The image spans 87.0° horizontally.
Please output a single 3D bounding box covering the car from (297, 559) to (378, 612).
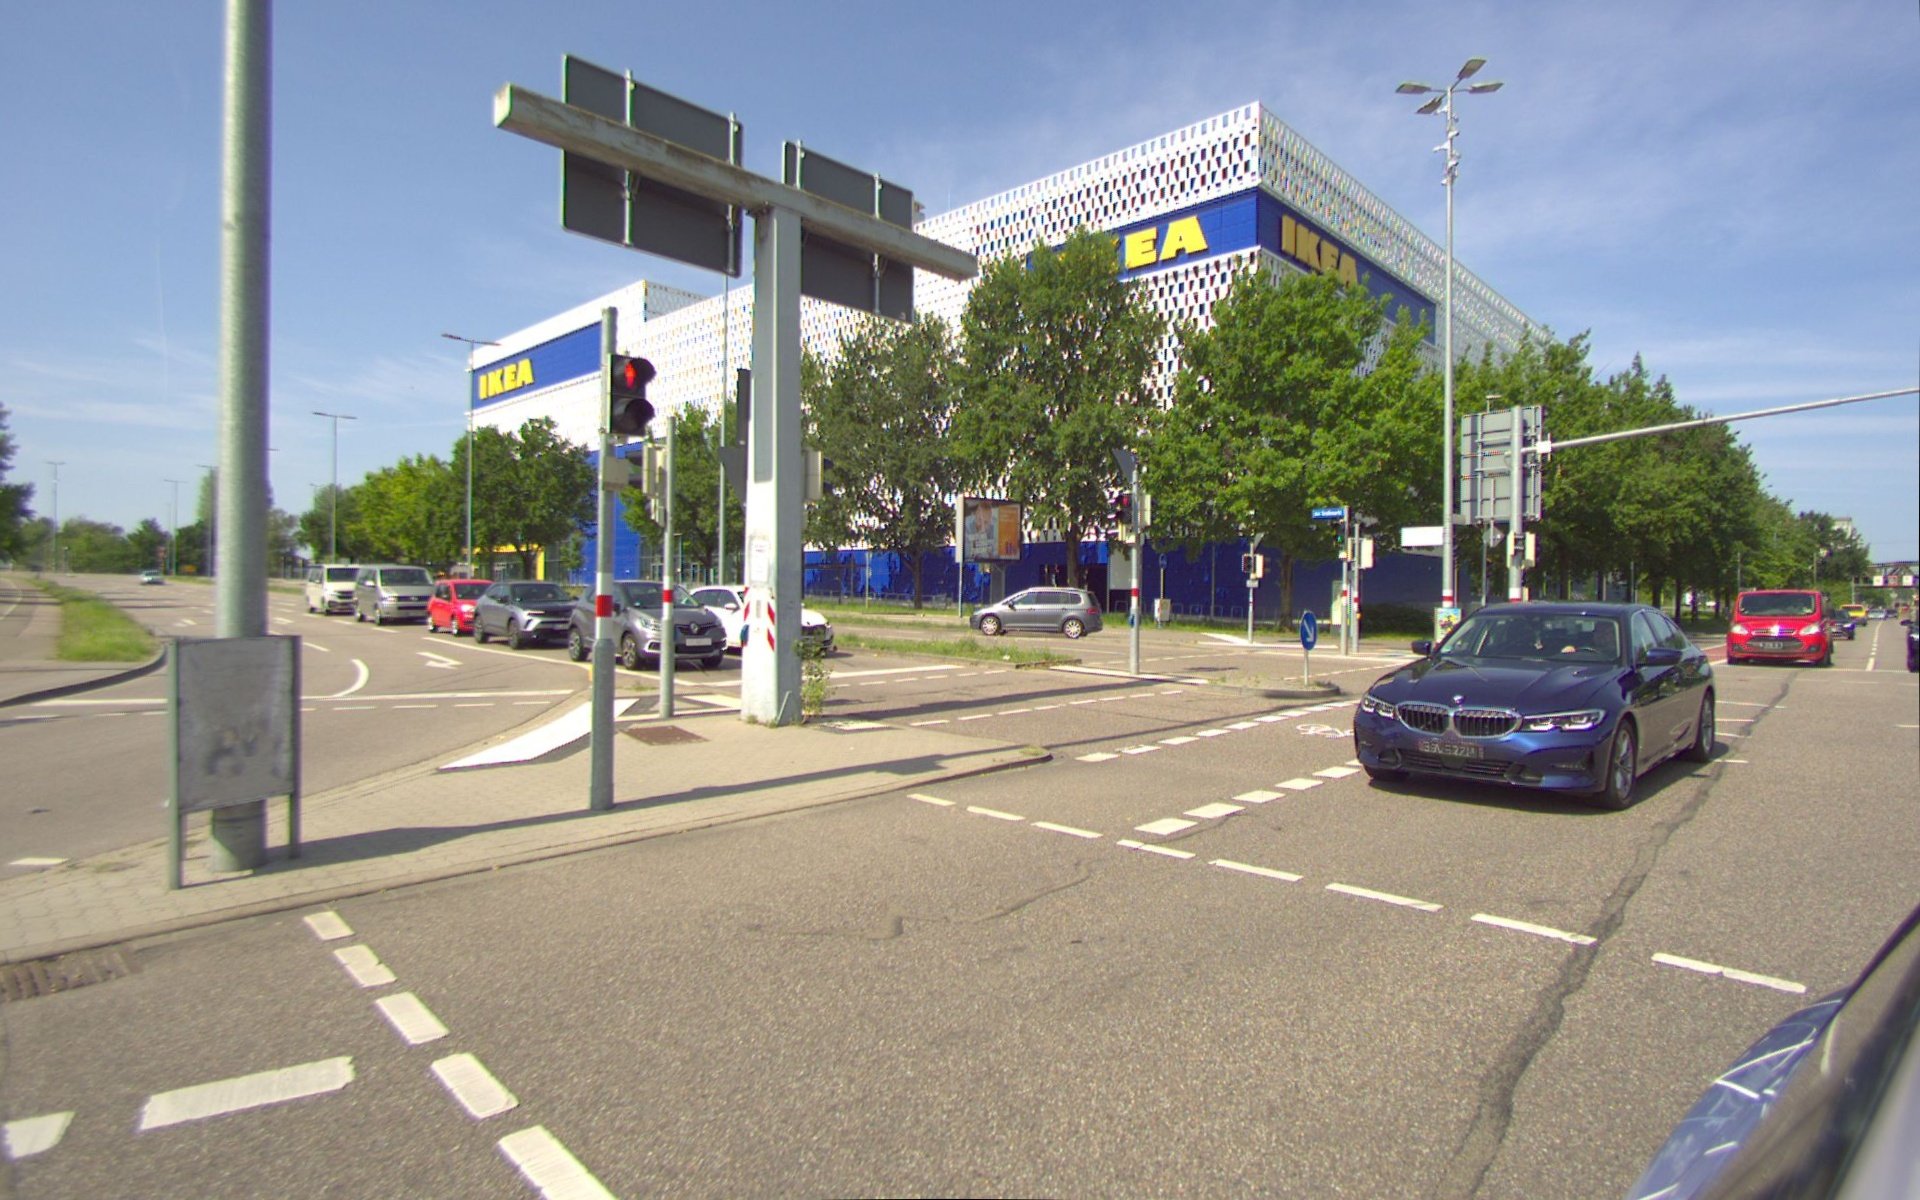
[{"bbox_3d":[-24.893,-0.594,40.386,1.882,1.960,4.780,-2,2,-42],"label":"car"}]

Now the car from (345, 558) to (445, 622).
[{"bbox_3d":[-19.115,-0.385,34.150,1.929,2.000,4.680,-2,2,-42],"label":"car"}]

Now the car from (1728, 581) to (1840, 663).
[{"bbox_3d":[21.353,0.528,26.148,2.007,1.932,4.737,-2,-1,42],"label":"car"}]

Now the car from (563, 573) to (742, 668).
[{"bbox_3d":[-5.853,0.317,19.037,1.777,1.578,3.890,0,1,-42],"label":"car"}]

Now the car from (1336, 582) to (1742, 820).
[{"bbox_3d":[5.115,0.615,8.630,4.463,1.447,1.797,-2,1,-44],"label":"car"}]

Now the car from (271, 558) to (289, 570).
[{"bbox_3d":[-97.415,-5.123,144.955,1.613,1.554,3.908,0,0,-43],"label":"car"}]

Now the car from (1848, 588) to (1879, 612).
[{"bbox_3d":[80.778,0.014,90.481,1.992,2.039,3.939,-3,-1,43],"label":"car"}]

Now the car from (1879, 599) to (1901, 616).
[{"bbox_3d":[118.184,0.956,128.659,1.992,2.039,3.939,-3,-1,43],"label":"car"}]

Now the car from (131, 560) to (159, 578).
[{"bbox_3d":[-82.994,-3.186,103.023,1.854,1.704,3.990,0,3,-45],"label":"car"}]

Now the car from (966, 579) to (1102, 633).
[{"bbox_3d":[2.516,0.168,33.725,4.322,1.676,1.993,0,1,12],"label":"car"}]

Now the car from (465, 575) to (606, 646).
[{"bbox_3d":[-10.285,0.183,24.400,1.877,1.527,4.033,-1,2,-43],"label":"car"}]

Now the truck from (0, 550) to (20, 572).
[{"bbox_3d":[-141.889,-5.771,148.338,1.992,3.066,5.885,-3,-1,43],"label":"truck"}]

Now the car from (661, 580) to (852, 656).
[{"bbox_3d":[-4.527,0.301,22.005,1.926,1.443,4.722,-1,2,-42],"label":"car"}]

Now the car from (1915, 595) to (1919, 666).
[{"bbox_3d":[23.022,0.634,22.968,1.843,1.559,3.935,-2,-2,45],"label":"car"}]

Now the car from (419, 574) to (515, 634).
[{"bbox_3d":[-13.947,0.075,28.564,1.571,1.595,3.475,0,0,-41],"label":"car"}]

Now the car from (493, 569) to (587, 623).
[{"bbox_3d":[-13.832,-0.156,33.198,1.654,1.640,4.124,0,1,-41],"label":"car"}]

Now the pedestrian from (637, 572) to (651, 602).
[{"bbox_3d":[-22.114,-0.899,70.747,0.596,2.039,0.675,-3,-1,30],"label":"pedestrian"}]

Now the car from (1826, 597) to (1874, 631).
[{"bbox_3d":[44.307,0.686,50.393,1.643,1.559,3.940,-4,-2,42],"label":"car"}]

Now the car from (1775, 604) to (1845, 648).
[{"bbox_3d":[29.624,0.864,35.241,1.687,1.441,3.855,-1,-1,43],"label":"car"}]
